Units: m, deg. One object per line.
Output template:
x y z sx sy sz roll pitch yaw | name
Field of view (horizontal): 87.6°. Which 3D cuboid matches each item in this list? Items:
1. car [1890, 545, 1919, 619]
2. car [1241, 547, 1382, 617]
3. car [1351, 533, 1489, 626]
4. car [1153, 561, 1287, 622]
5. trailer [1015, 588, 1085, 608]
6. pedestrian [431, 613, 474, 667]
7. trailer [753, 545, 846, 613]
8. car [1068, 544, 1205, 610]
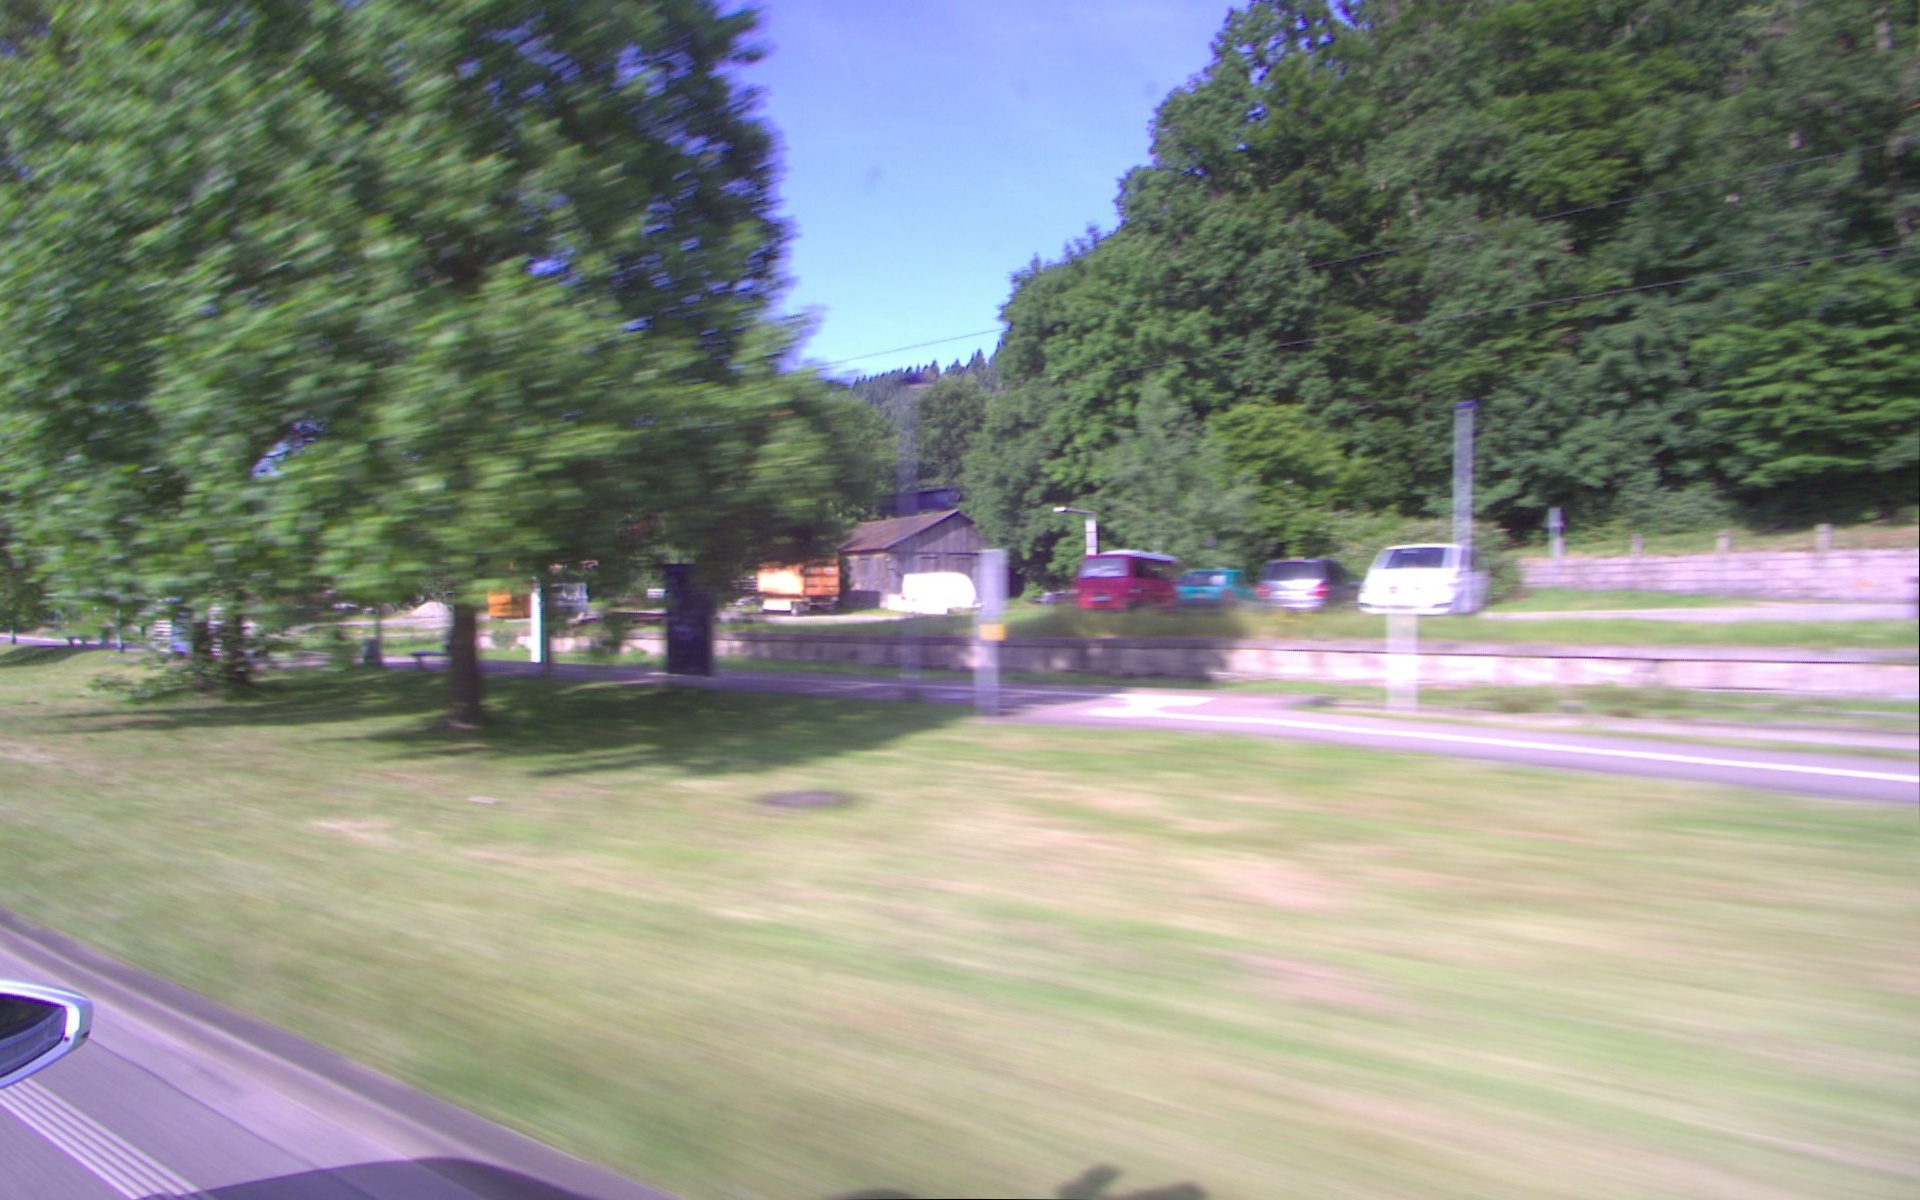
18.826 -0.329 18.541 1.807 1.361 4.252 0 -1 35 | car
9.067 -0.389 25.540 2.113 1.608 4.936 0 -1 35 | car
11.068 -0.411 23.870 2.113 1.969 4.936 0 0 35 | car
7.095 -0.183 26.981 1.870 1.487 4.936 0 -1 35 | car
4.409 -0.085 49.100 3.032 0.927 1.725 -1 0 -36 | trailer
-11.435 0.888 22.551 0.719 1.177 0.631 0 2 44 | pedestrian
-10.025 -1.246 61.862 2.581 3.946 7.680 -2 1 -35 | trailer
5.091 -0.565 28.373 1.910 1.713 4.936 0 0 35 | car
